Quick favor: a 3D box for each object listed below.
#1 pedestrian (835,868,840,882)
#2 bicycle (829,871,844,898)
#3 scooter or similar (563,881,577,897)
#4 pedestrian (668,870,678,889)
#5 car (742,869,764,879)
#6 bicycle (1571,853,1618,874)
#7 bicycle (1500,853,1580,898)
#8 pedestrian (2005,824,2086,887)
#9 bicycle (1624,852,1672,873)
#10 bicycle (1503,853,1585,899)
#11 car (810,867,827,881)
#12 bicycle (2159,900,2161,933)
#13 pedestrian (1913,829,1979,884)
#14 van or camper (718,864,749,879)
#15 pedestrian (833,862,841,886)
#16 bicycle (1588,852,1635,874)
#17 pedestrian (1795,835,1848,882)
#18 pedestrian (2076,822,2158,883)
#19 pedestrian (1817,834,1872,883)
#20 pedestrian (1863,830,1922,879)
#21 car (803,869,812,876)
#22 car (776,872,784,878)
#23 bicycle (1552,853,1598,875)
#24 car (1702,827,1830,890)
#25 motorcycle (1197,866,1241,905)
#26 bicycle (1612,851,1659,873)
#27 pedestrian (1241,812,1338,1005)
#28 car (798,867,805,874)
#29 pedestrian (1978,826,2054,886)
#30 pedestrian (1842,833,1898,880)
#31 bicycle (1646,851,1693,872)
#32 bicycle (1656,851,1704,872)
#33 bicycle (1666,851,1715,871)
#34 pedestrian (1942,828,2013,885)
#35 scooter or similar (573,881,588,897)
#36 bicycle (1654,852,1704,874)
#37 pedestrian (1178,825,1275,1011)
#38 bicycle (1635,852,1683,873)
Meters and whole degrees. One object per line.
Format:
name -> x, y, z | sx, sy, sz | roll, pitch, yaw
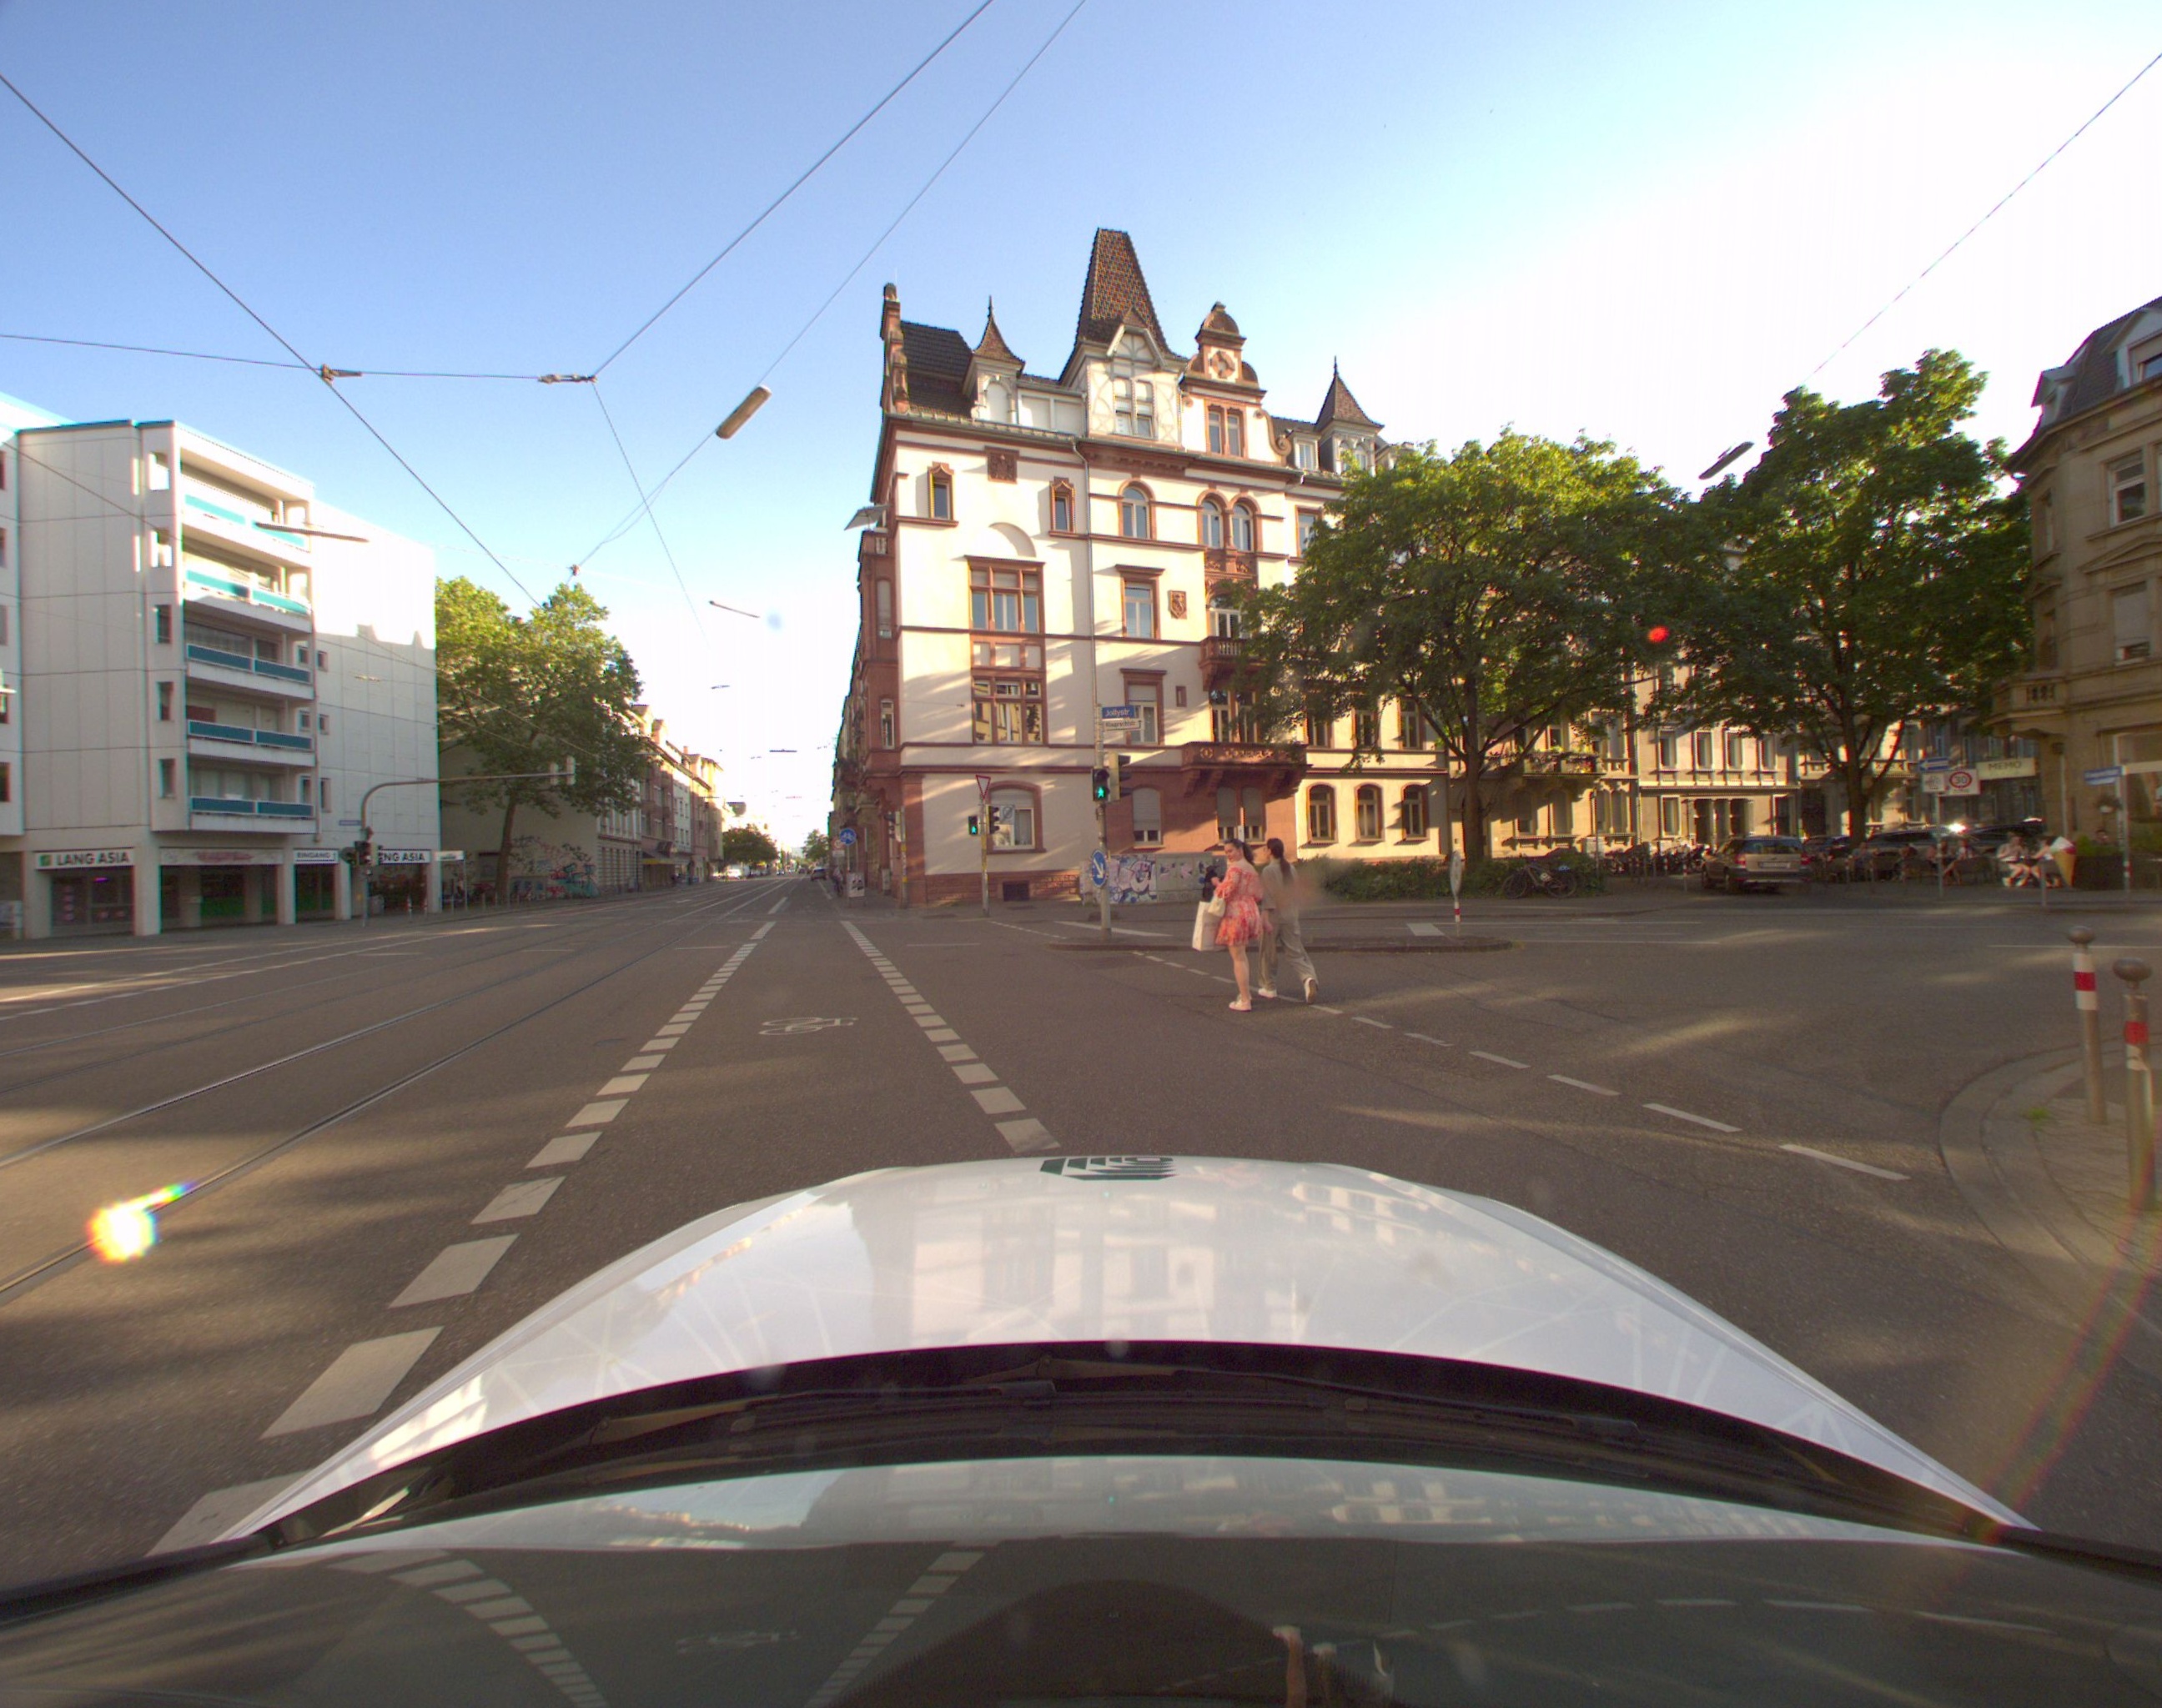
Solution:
pedestrian -> -31.167, 2.727, 104.195 | 0.546, 1.780, 0.745 | -2, -1, -18
bicycle -> -12.292, 1.514, 40.952 | 0.655, 1.323, 2.164 | -2, -1, -16
scooter or similar -> -34.438, 2.362, 54.885 | 0.518, 1.045, 1.468 | -2, -1, -20
pedestrian -> -39.233, 2.442, 78.343 | 0.703, 1.728, 0.643 | -2, -1, -19
car -> -73.549, 4.505, 182.748 | 4.023, 2.014, 1.975 | -2, -1, -43
bicycle -> 21.825, 0.408, 34.654 | 0.493, 0.893, 1.788 | -2, -1, -16
bicycle -> 12.734, 0.608, 22.644 | 1.843, 1.161, 0.562 | -2, 1, 19
pedestrian -> 23.646, 0.037, 19.981 | 0.905, 1.428, 0.768 | -6, -1, 15
bicycle -> 24.960, 0.383, 35.870 | 0.493, 0.893, 1.788 | -2, -1, -16
bicycle -> 12.525, 0.604, 22.077 | 1.843, 1.161, 0.562 | -2, 1, 19
car -> -34.228, 2.558, 106.248 | 1.955, 1.684, 3.976 | -2, 0, -17
bicycle -> 7.843, 0.800, 5.082 | 0.777, 1.045, 1.059 | -2, -2, -9
pedestrian -> 24.296, 0.069, 22.892 | 0.905, 1.428, 0.768 | -6, -1, 14
van or camper -> -63.484, 3.222, 148.888 | 1.974, 2.563, 4.679 | -3, -1, 41
pedestrian -> -18.491, 1.535, 61.791 | 0.546, 1.780, 0.501 | -2, -1, -18
bicycle -> 22.686, 0.385, 34.863 | 0.493, 0.893, 1.788 | -2, -1, -16
pedestrian -> 24.083, 0.140, 26.500 | 0.905, 1.428, 0.768 | -6, -1, 14
pedestrian -> 25.931, -0.025, 20.408 | 0.758, 1.428, 0.918 | -6, -1, 12
pedestrian -> 23.867, 0.128, 25.481 | 0.905, 1.428, 0.768 | -6, -1, 15
pedestrian -> 24.934, 0.016, 25.035 | 0.905, 1.428, 0.768 | -6, -1, 15
car -> -67.942, 4.566, 202.502 | 2.000, 1.728, 3.974 | -1, -1, -19
car -> -78.513, 5.506, 212.194 | 1.825, 1.442, 3.975 | -1, -1, -18
bicycle -> 20.858, 0.432, 34.413 | 0.493, 0.893, 1.788 | -2, -1, -16
car -> 19.373, 0.102, 23.239 | 1.975, 1.618, 4.024 | -1, 0, 28
motorcycle -> 4.232, 0.946, 25.151 | 0.718, 1.020, 2.282 | -2, 2, -7
bicycle -> 24.094, 0.353, 35.430 | 0.493, 0.893, 1.788 | -2, -1, -16
pedestrian -> 2.169, 0.541, 8.505 | 0.694, 1.909, 0.664 | 0, -1, -27
car -> -81.775, 4.825, 238.366 | 2.000, 1.728, 3.974 | -1, -1, -19
pedestrian -> 23.901, 0.044, 20.839 | 0.905, 1.428, 0.768 | -6, -1, 14
pedestrian -> 25.304, 0.077, 26.139 | 0.905, 1.428, 0.768 | -6, -1, 14
bicycle -> 26.232, 0.351, 36.336 | 0.493, 0.893, 1.788 | -2, -1, -16
bicycle -> 26.781, 0.336, 36.431 | 0.493, 0.893, 1.788 | -2, -1, -16
bicycle -> 27.387, 0.322, 36.631 | 0.493, 0.893, 1.788 | -2, -1, -16
pedestrian -> 24.061, 0.058, 21.878 | 0.905, 1.428, 0.768 | -6, -1, 15
scooter or similar -> -33.865, 2.343, 55.117 | 0.518, 1.057, 1.468 | -2, -1, -20
bicycle -> 25.494, 0.385, 34.722 | 1.788, 0.893, 0.492 | -2, -1, -4
pedestrian -> 1.458, 0.619, 8.286 | 0.803, 1.800, 0.760 | -1, 0, -3
bicycle -> 25.594, 0.366, 36.111 | 0.493, 0.893, 1.788 | -2, -1, -16
